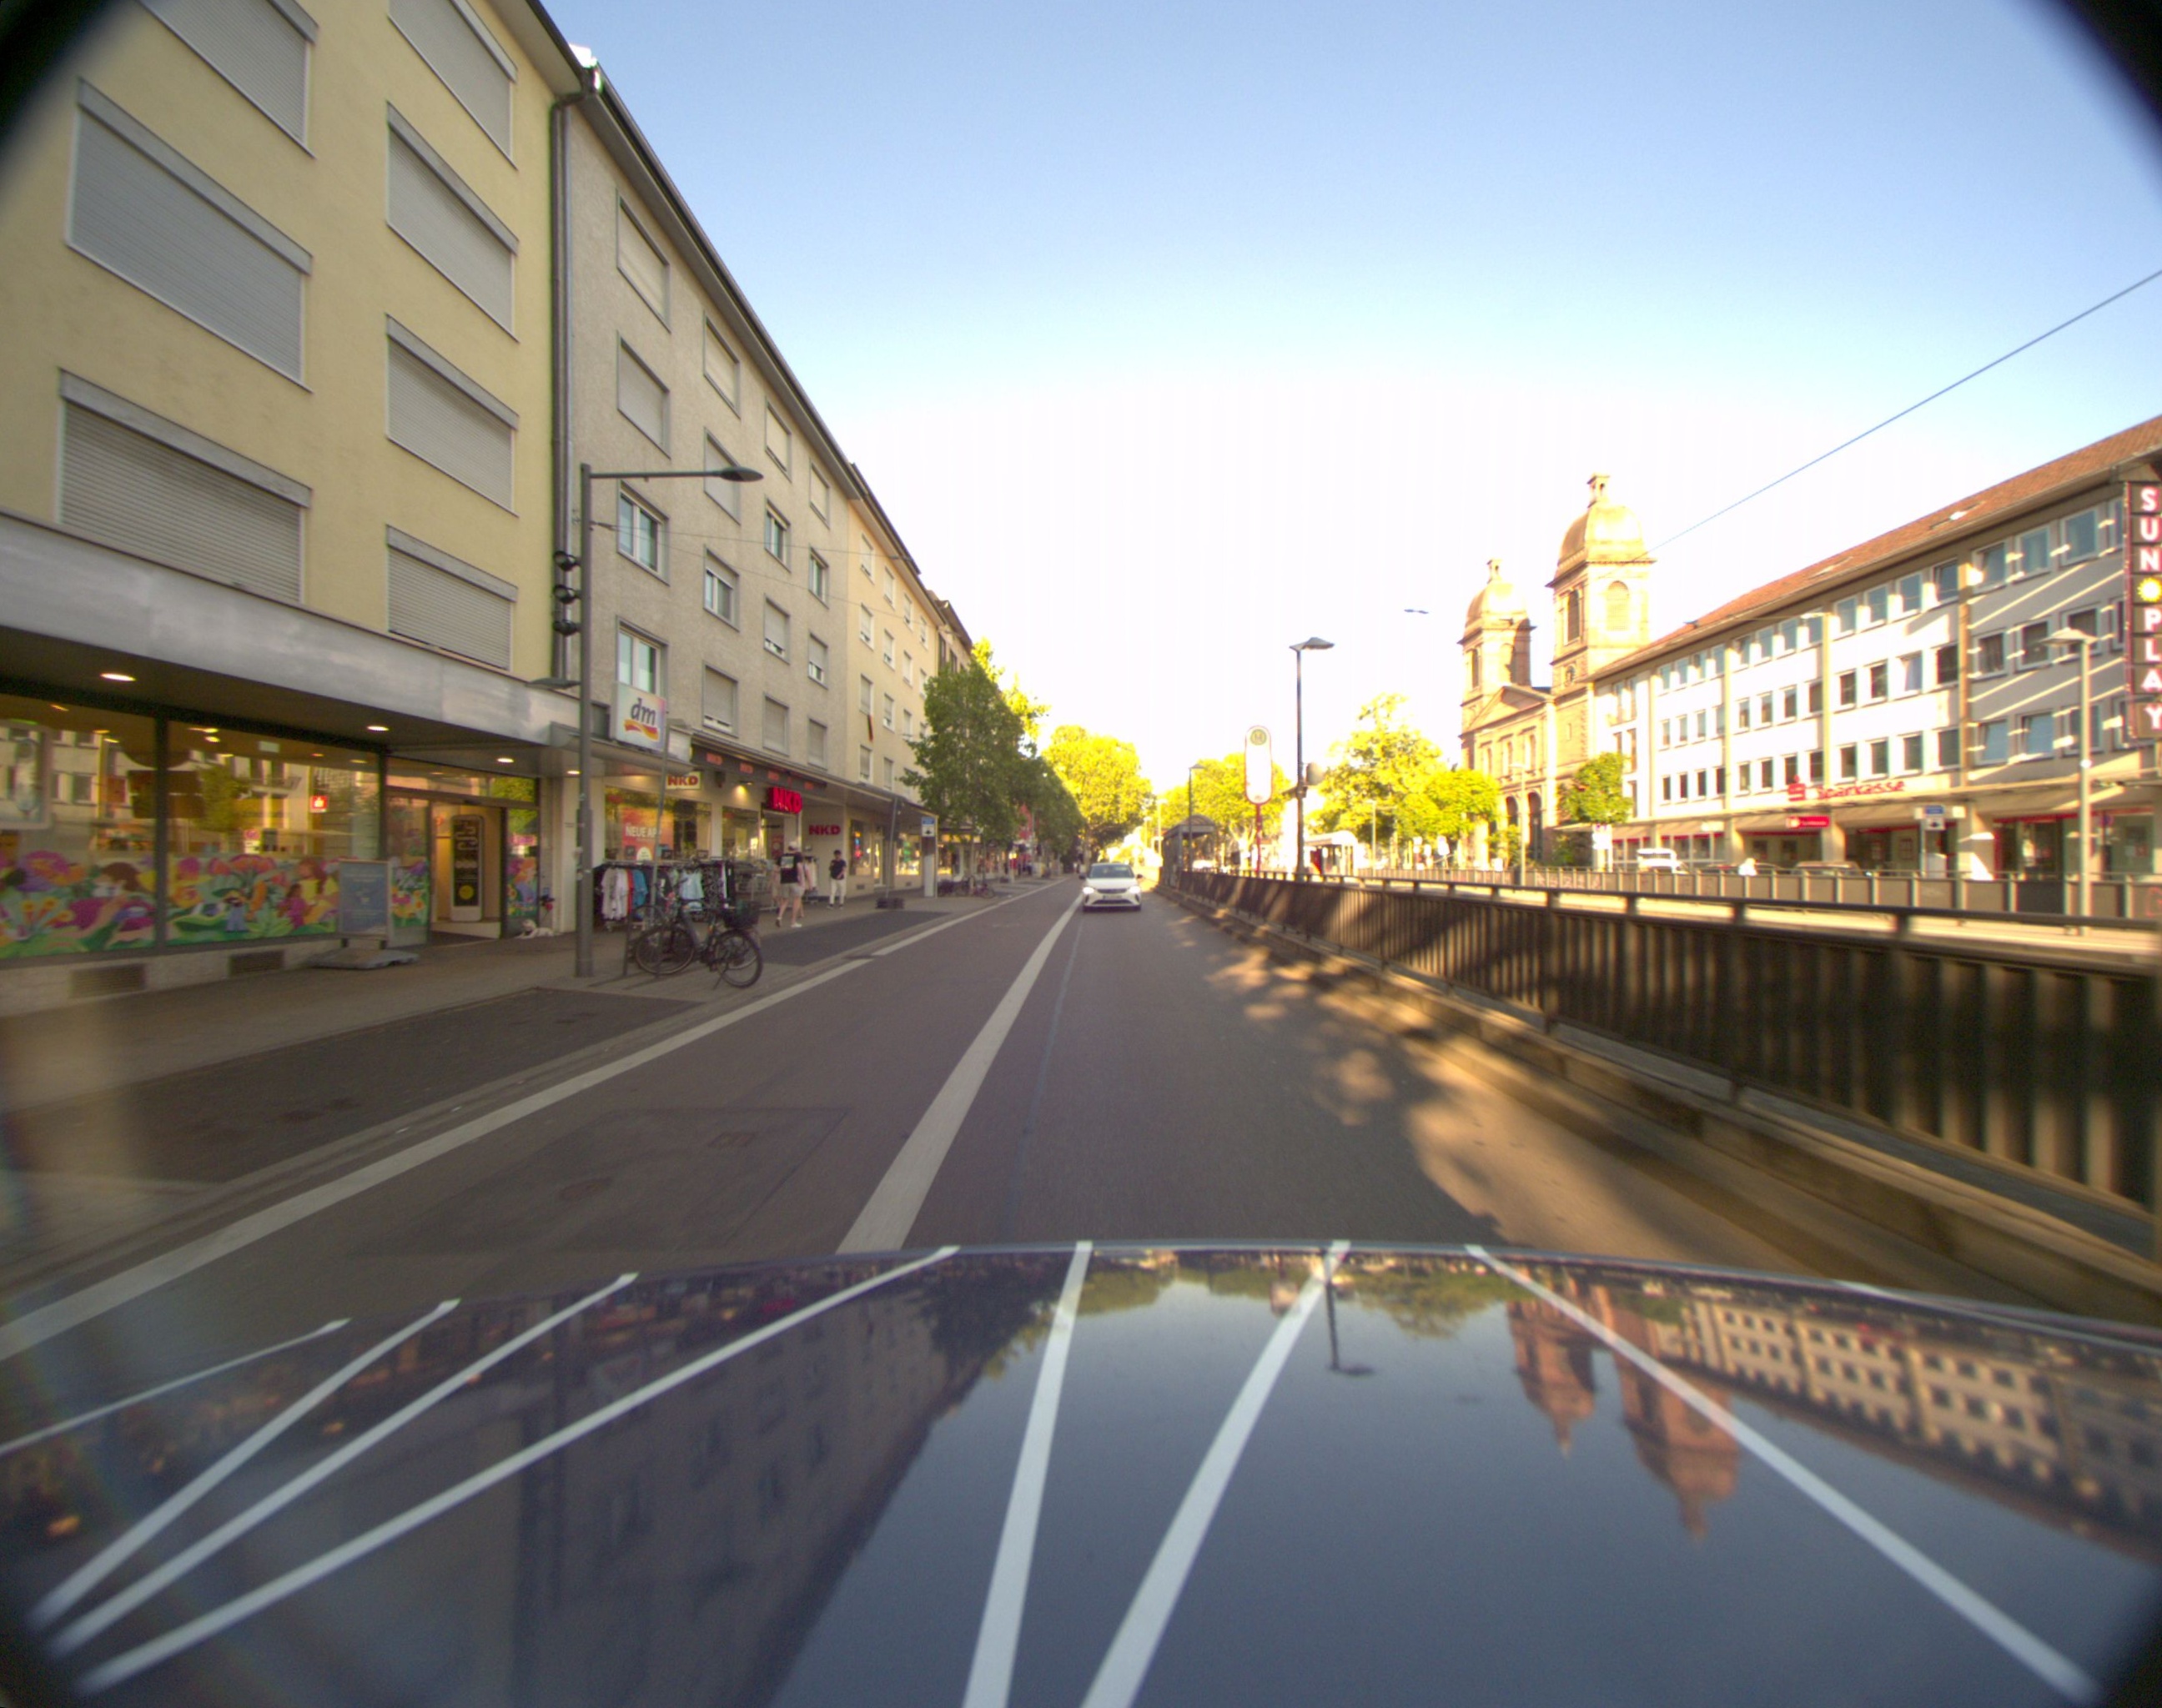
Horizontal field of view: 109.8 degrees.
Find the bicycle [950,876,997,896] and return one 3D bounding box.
[{"bbox_3d":[-4.330,1.299,30.603,1.763,0.773,0.702,1,0,-21],"label":"bicycle"}]

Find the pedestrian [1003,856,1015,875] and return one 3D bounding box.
[{"bbox_3d":[-6.220,1.005,65.677,0.851,1.645,0.916,-2,1,1],"label":"pedestrian"}]

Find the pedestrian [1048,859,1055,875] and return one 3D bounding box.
[{"bbox_3d":[-3.181,1.378,81.523,0.634,1.645,0.651,-2,1,1],"label":"pedestrian"}]

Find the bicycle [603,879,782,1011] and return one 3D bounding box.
[{"bbox_3d":[-4.665,1.052,9.149,1.789,1.304,0.694,6,1,13],"label":"bicycle"}]

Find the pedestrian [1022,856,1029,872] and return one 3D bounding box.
[{"bbox_3d":[-5.809,1.085,79.407,0.634,1.645,0.651,-2,1,1],"label":"pedestrian"}]

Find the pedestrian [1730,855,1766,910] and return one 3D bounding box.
[{"bbox_3d":[21.962,0.930,25.022,0.726,1.777,0.766,-3,1,-41],"label":"pedestrian"}]

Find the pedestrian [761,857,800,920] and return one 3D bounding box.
[{"bbox_3d":[-7.427,0.839,18.811,0.542,1.493,0.896,2,0,2],"label":"pedestrian"}]

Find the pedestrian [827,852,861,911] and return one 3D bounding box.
[{"bbox_3d":[-6.980,0.799,22.394,0.569,1.665,1.070,2,0,2],"label":"pedestrian"}]

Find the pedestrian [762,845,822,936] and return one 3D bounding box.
[{"bbox_3d":[-6.016,0.745,15.884,0.775,1.789,0.931,3,0,3],"label":"pedestrian"}]

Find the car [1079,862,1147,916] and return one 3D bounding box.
[{"bbox_3d":[0.953,0.989,22.818,1.826,1.433,3.828,-1,0,2],"label":"car"}]

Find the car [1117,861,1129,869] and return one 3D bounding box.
[{"bbox_3d":[7.613,1.954,137.889,1.718,1.390,3.999,-2,0,-3],"label":"car"}]

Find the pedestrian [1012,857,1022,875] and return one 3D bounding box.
[{"bbox_3d":[-6.142,1.158,73.186,0.851,1.645,0.916,-2,1,1],"label":"pedestrian"}]

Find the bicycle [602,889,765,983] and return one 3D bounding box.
[{"bbox_3d":[-5.240,1.096,10.127,1.796,1.118,0.662,4,0,-26],"label":"bicycle"}]

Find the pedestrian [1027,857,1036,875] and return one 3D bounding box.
[{"bbox_3d":[-4.717,1.155,72.508,0.693,1.665,0.659,2,0,2],"label":"pedestrian"}]

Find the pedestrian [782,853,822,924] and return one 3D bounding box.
[{"bbox_3d":[-6.600,0.799,18.015,0.547,1.619,0.896,2,0,2],"label":"pedestrian"}]

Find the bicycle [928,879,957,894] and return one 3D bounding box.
[{"bbox_3d":[-5.600,1.306,30.658,0.840,0.569,1.758,1,-1,-21],"label":"bicycle"}]

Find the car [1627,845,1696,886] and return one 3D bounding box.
[{"bbox_3d":[23.728,0.431,31.026,1.739,1.477,4.008,-2,1,44],"label":"car"}]

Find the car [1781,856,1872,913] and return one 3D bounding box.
[{"bbox_3d":[23.399,0.899,23.801,4.008,1.521,1.865,-2,1,-44],"label":"car"}]
